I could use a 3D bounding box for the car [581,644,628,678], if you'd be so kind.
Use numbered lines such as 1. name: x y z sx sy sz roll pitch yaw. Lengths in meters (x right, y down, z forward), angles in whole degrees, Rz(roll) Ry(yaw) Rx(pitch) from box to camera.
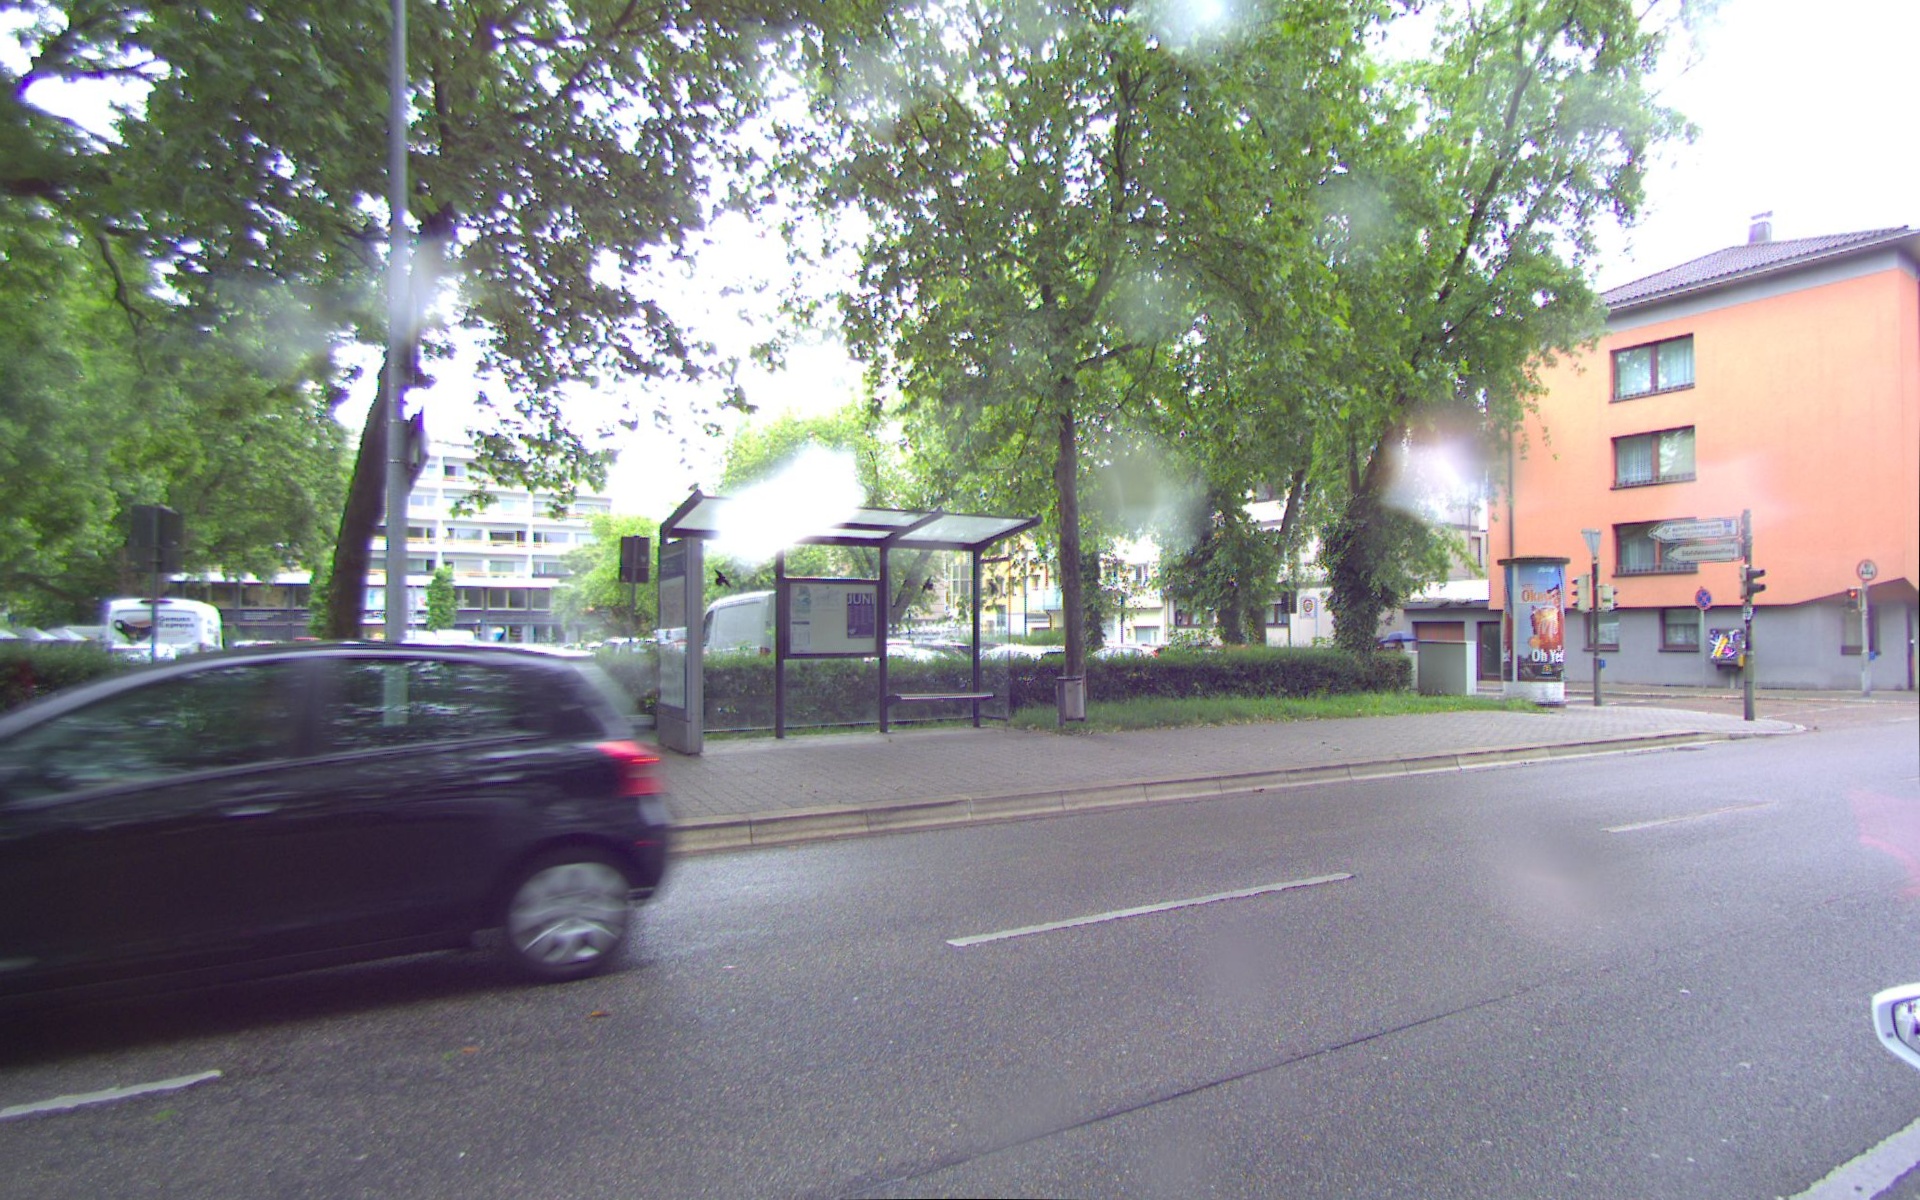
1. car: -15.191 2.578 42.829 1.332 1.401 3.141 1 -3 -30

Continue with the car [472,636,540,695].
1. car: -12.084 1.711 26.648 1.375 1.454 3.248 1 -3 -29

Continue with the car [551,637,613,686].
1. car: -11.952 1.929 31.681 1.375 1.454 3.248 1 -3 -29

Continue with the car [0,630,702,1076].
1. car: -3.096 0.914 4.426 3.525 1.507 1.560 1 -4 -30

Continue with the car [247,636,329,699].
1. car: -16.505 1.634 24.790 1.375 1.454 3.248 1 -3 -29

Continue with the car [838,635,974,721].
1. car: -1.205 1.575 21.187 1.492 1.544 3.174 2 0 -32

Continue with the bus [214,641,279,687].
1. bus: -25.615 2.276 36.138 1.587 1.559 3.403 2 -3 -30

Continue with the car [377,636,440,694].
1. car: -14.727 1.708 26.851 1.375 1.454 3.248 1 -3 -29

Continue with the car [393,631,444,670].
1. car: -20.895 1.945 38.687 1.587 1.447 3.293 2 -3 -30

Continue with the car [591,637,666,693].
1. car: -9.106 1.750 27.504 1.375 1.454 3.248 1 -3 -29

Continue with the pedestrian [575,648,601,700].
1. pedestrian: -8.977 1.774 24.216 0.462 1.229 0.434 2 0 -37

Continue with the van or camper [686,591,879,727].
1. van or camper: -3.423 1.058 18.693 2.026 2.198 4.458 2 -3 -32

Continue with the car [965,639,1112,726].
1. car: 1.590 1.660 21.171 1.492 1.544 3.174 2 0 -32

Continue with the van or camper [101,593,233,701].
1. van or camper: -20.692 1.228 26.422 2.074 2.570 4.391 1 -3 -30

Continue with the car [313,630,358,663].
1. car: -31.415 2.311 50.583 1.818 1.444 3.799 2 0 -31

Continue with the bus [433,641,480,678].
1. bus: -22.366 2.609 44.570 1.587 1.559 3.403 2 -3 -30

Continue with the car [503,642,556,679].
1. car: -17.690 2.452 41.237 1.587 1.447 3.293 2 -3 -30

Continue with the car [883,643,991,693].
1. car: -0.827 2.225 33.518 1.799 1.536 3.965 2 -3 -33

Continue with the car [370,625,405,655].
1. car: -33.034 2.291 57.915 1.622 1.544 3.174 1 1 -32

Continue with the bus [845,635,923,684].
1. bus: -2.411 1.850 31.472 1.364 1.451 2.777 2 -3 -30

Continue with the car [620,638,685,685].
1. car: -9.987 1.965 32.474 1.375 1.454 3.248 1 -3 -29

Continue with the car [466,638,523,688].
1. car: -14.536 1.939 31.280 1.375 1.454 3.248 1 -3 -29

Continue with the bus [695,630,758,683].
1. bus: -7.824 1.865 33.523 1.363 1.698 2.779 1 -3 -28

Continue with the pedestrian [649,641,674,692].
1. pedestrian: -7.419 1.639 24.957 0.462 1.229 0.434 2 0 -37

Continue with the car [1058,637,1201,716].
1. car: 3.811 1.684 23.041 1.492 1.544 3.174 2 0 -32

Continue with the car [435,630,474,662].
1. car: -27.263 2.453 54.135 1.622 1.544 3.174 2 0 -32

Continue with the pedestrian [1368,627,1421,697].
1. pedestrian: 11.585 1.622 26.781 0.980 1.765 1.204 1 0 39

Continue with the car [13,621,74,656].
1. car: -40.845 1.691 44.829 1.412 1.447 2.941 1 0 -30
